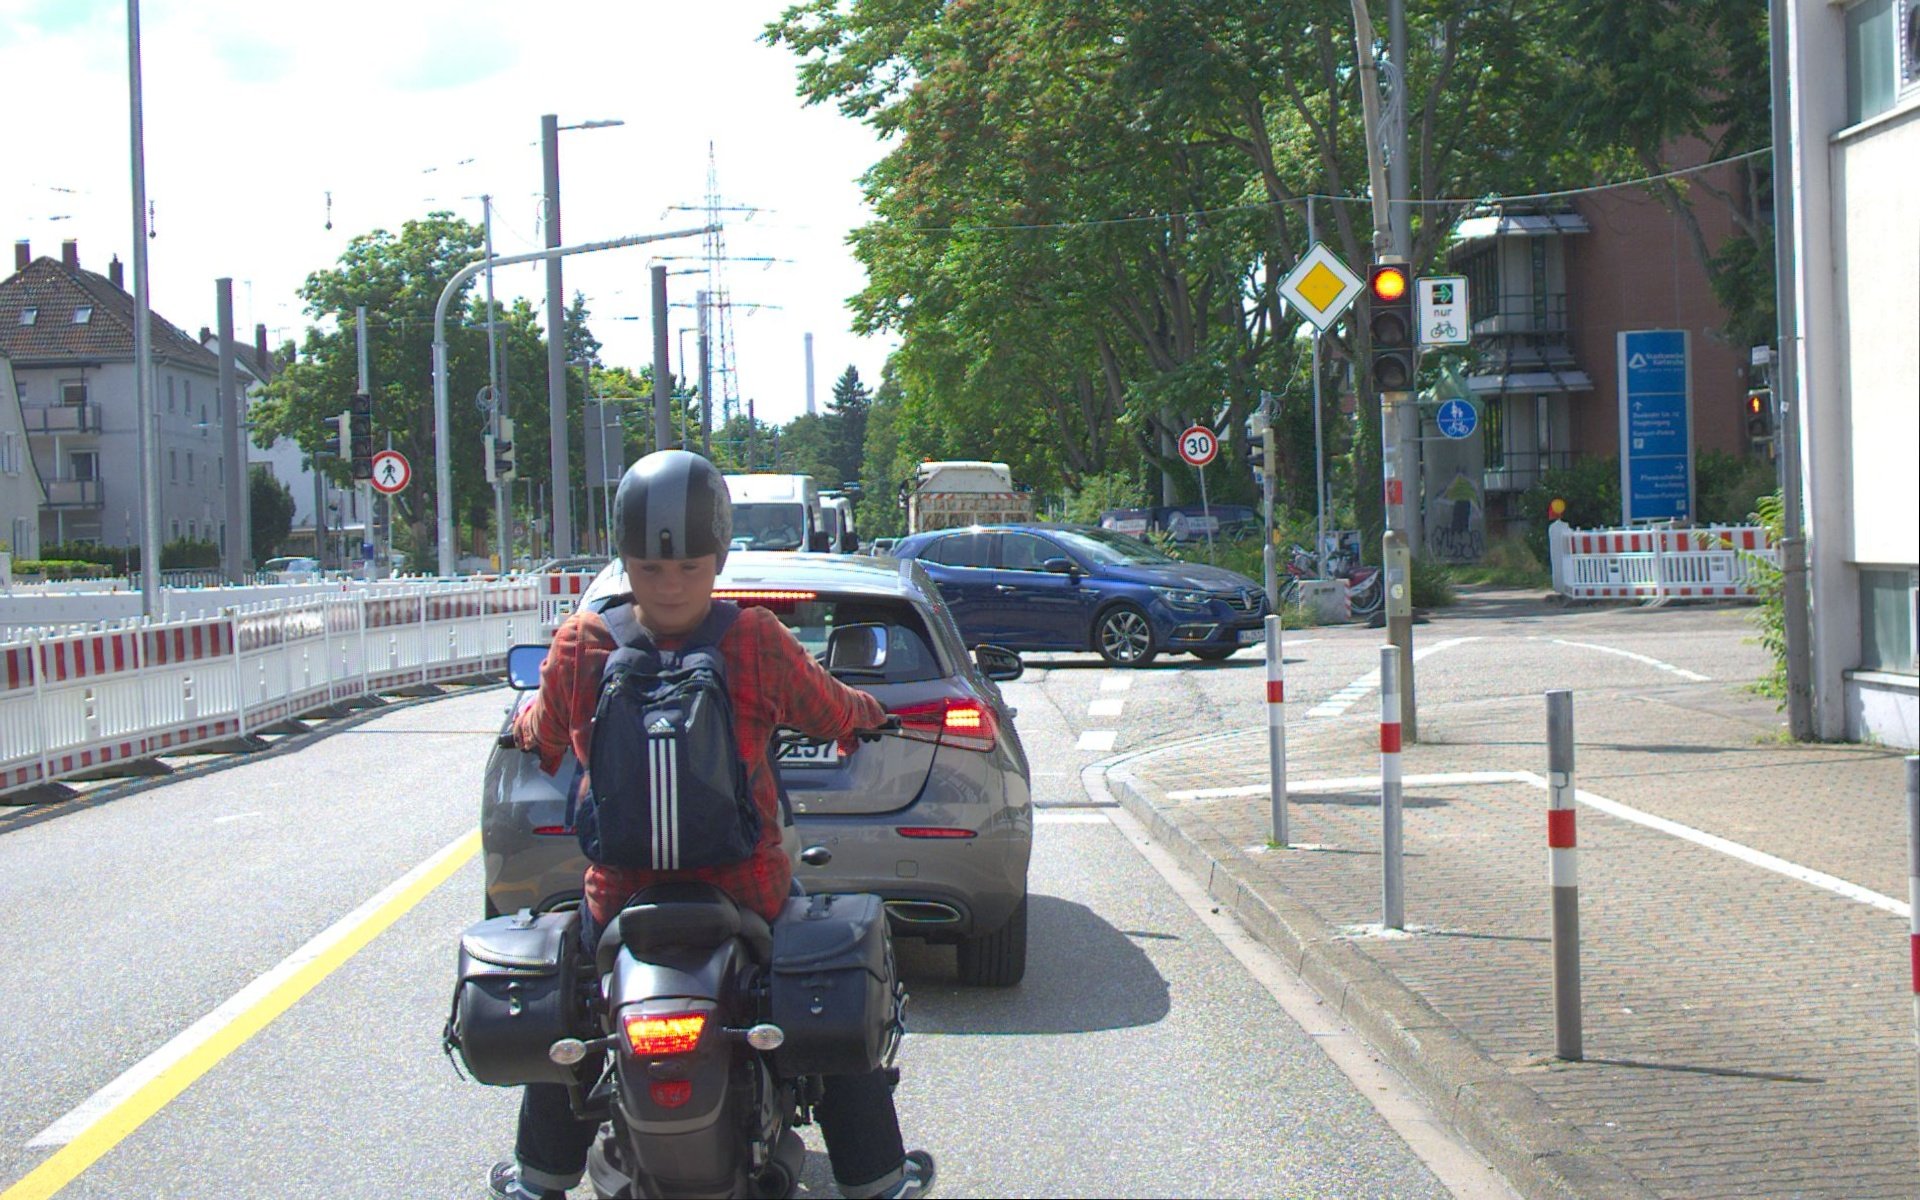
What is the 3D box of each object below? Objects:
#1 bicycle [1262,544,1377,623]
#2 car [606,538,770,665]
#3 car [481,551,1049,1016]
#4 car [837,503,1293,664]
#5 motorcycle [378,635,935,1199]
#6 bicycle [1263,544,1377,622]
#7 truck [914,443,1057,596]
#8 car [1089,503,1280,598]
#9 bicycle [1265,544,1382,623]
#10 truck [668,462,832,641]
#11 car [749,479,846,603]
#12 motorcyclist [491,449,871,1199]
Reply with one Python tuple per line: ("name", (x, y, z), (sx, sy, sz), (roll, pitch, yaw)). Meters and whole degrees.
("bicycle", (5.390, -0.251, 51.561), (1.708, 1.168, 0.438), (0, 0, 4))
("car", (-3.343, -0.006, 42.884), (1.744, 1.432, 4.084), (-3, 1, -1))
("car", (-0.796, 0.538, 12.608), (1.731, 1.399, 4.087), (0, 1, -6))
("car", (1.011, -0.171, 34.118), (4.262, 1.493, 1.647), (0, 2, 33))
("motorcycle", (-0.543, 0.711, 7.086), (0.942, 1.196, 2.473), (0, 1, -1))
("bicycle", (5.464, -0.258, 52.258), (1.708, 1.168, 0.438), (0, 0, 4))
("truck", (0.621, -1.713, 75.147), (2.967, 3.162, 7.764), (0, 1, 1))
("car", (4.668, -1.015, 71.166), (1.802, 1.919, 3.990), (1, 1, 44))
("bicycle", (5.384, -0.246, 51.016), (1.708, 1.168, 0.438), (0, 0, 4))
("truck", (-3.125, -0.804, 52.194), (2.093, 2.468, 5.197), (-3, 2, 0))
("car", (-2.870, -1.032, 61.219), (1.589, 2.135, 3.627), (0, 0, 0))
("motorcyclist", (-0.526, 0.517, 6.714), (0.698, 1.599, 0.692), (0, 0, -1))
